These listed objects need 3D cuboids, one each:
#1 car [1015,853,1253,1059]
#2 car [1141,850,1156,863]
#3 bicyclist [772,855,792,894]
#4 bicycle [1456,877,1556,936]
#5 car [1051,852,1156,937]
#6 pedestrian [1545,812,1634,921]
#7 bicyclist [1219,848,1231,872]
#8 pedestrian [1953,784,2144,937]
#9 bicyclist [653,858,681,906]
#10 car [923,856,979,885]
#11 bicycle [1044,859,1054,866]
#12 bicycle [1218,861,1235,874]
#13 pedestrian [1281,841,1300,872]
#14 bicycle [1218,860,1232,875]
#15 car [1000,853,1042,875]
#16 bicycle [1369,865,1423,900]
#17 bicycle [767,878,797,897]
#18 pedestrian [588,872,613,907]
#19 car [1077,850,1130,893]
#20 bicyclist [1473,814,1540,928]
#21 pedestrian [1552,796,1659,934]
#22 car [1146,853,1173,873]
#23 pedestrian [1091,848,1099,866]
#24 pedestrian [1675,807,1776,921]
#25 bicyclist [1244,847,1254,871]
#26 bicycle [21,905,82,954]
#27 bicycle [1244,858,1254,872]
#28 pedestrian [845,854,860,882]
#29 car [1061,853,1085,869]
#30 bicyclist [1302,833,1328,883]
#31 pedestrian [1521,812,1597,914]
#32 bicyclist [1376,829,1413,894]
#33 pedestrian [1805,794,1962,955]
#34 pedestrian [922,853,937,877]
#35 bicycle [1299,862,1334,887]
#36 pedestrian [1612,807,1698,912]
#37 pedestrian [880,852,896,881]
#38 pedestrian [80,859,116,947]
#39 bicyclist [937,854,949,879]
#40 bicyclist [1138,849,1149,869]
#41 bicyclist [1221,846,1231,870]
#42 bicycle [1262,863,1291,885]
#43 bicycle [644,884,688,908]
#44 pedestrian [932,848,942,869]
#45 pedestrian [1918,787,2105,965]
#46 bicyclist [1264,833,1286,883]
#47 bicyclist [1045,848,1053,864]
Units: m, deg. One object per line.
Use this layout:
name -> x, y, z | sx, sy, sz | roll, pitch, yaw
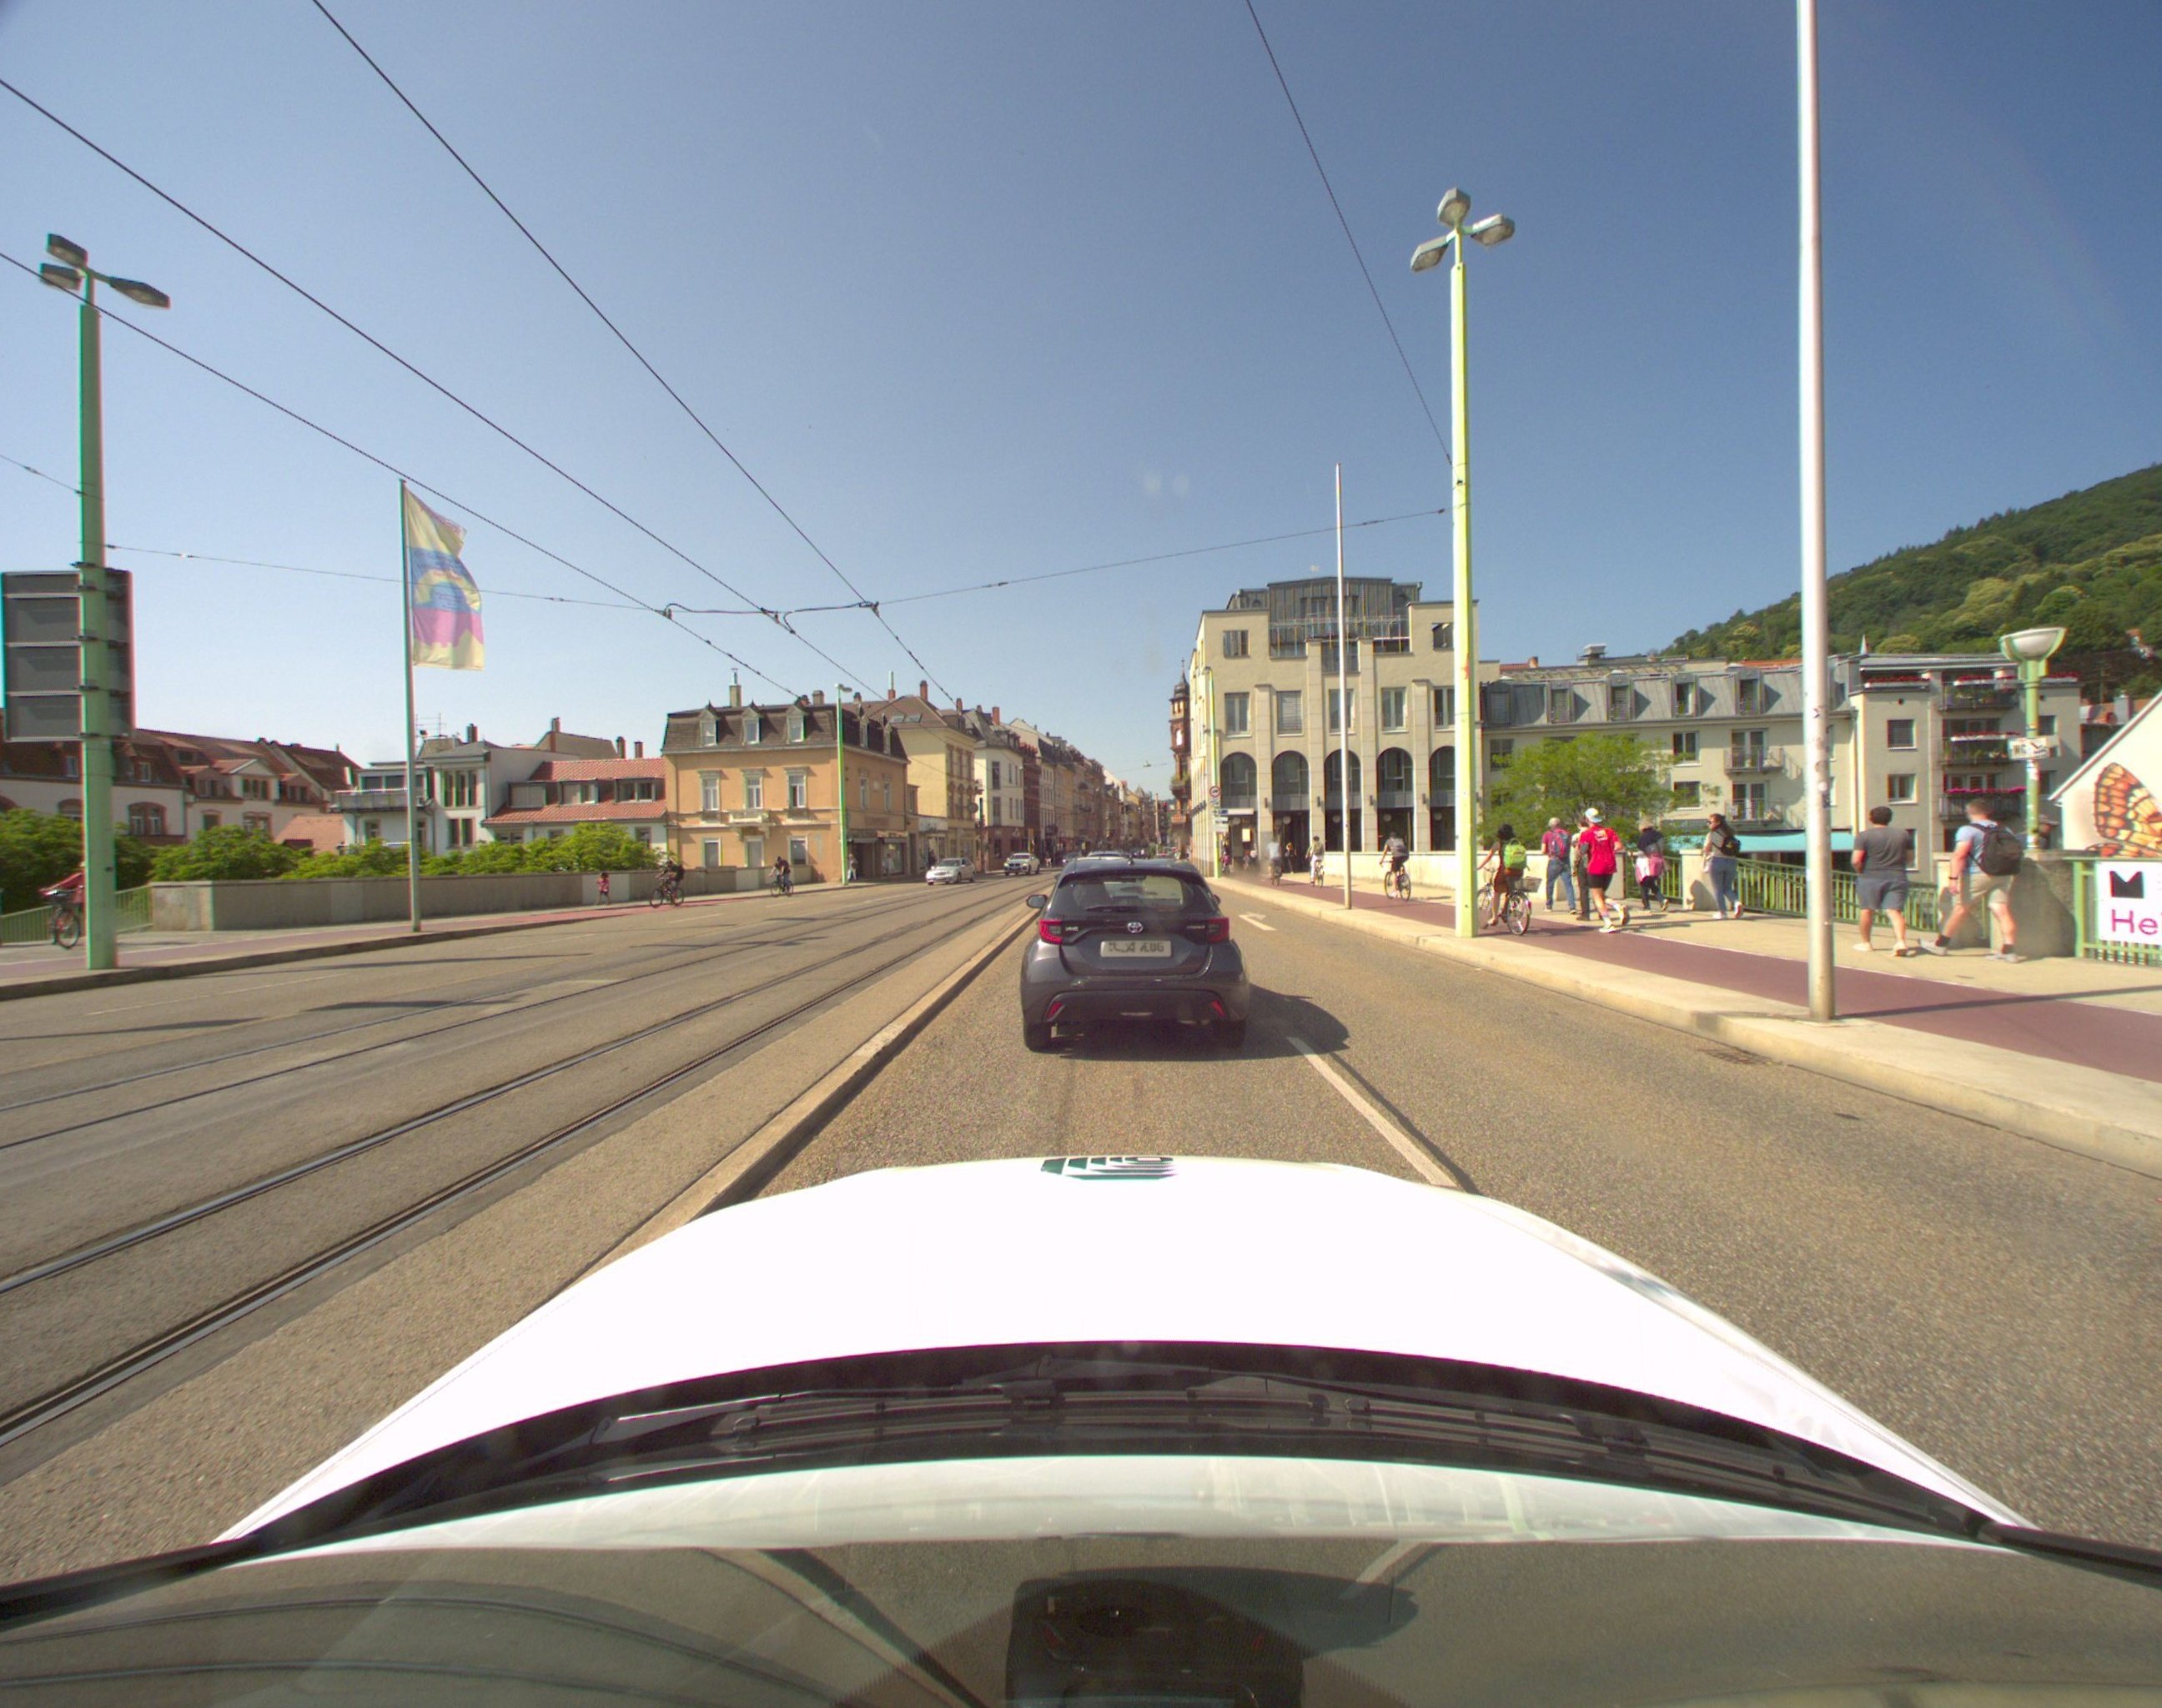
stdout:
car -> 0.429, 0.735, 7.706 | 1.713, 1.473, 3.659 | 0, 0, 1
car -> 12.045, 0.446, 144.405 | 1.980, 2.013, 4.013 | 3, 0, 12
bicyclist -> -12.824, 0.881, 34.966 | 0.625, 1.650, 0.622 | 0, 1, 2
bicycle -> 6.492, 0.771, 12.554 | 0.591, 0.765, 1.867 | -2, 0, 2
car -> 0.448, 0.722, 16.675 | 1.890, 1.530, 4.001 | 0, 0, 1
pedestrian -> 8.501, 0.205, 13.668 | 0.752, 1.718, 1.073 | -3, 0, 1
bicyclist -> 8.357, 0.332, 47.374 | 0.532, 1.383, 0.669 | -3, 0, 1
pedestrian -> 12.158, 0.074, 10.282 | 1.201, 1.777, 0.979 | -3, 0, -3
bicyclist -> -14.628, 0.974, 28.780 | 0.625, 1.650, 0.622 | 0, 1, 2
car -> -7.034, 0.844, 44.492 | 1.721, 1.460, 4.384 | -2, 0, 9
bicycle -> -3.350, 0.912, 85.571 | 0.616, 0.716, 2.051 | 0, 1, 11
bicycle -> 9.126, 0.841, 51.162 | 0.950, 0.765, 0.420 | -3, 0, 24
pedestrian -> 11.477, 0.147, 44.678 | 0.736, 1.615, 1.016 | 3, 0, 1
bicycle -> 8.379, 0.776, 47.388 | 0.512, 0.765, 1.661 | -3, 0, 2
car -> -4.459, 0.709, 61.326 | 1.981, 1.586, 4.665 | -2, 0, 10
bicycle -> 7.798, 0.692, 20.233 | 0.592, 0.765, 1.830 | -2, 0, -1
bicycle -> -12.835, 1.436, 35.013 | 0.618, 0.716, 1.732 | 0, 1, 2
pedestrian -> -16.628, 1.223, 28.190 | 0.409, 1.146, 0.546 | 3, 0, 12
car -> 0.839, 0.623, 30.786 | 1.890, 1.530, 4.001 | 0, 0, 1
bicyclist -> 6.461, 0.252, 12.389 | 0.602, 1.650, 0.702 | -2, 0, 2
pedestrian -> 7.785, 0.160, 12.138 | 0.808, 1.924, 1.128 | -2, 0, 1
car -> 5.842, 0.648, 60.861 | 1.699, 1.466, 4.327 | 0, 0, 1
pedestrian -> 2.127, 0.503, 120.896 | 1.047, 2.588, 1.502 | 3, 0, 2
pedestrian -> 10.436, 0.152, 13.226 | 0.737, 1.746, 1.015 | -3, 0, -2
bicyclist -> 9.771, 0.300, 47.431 | 0.420, 1.383, 0.444 | -3, 0, 1
bicycle -> -19.094, 1.376, 15.131 | 1.909, 0.716, 0.626 | 1, 1, 41
bicycle -> 9.792, 0.618, 47.438 | 0.415, 0.765, 0.962 | -3, 0, 2
pedestrian -> -13.386, 0.833, 47.718 | 0.646, 1.602, 0.566 | 3, 2, 2
car -> -0.790, 0.683, 82.451 | 1.784, 1.545, 3.930 | -2, 0, 8
bicyclist -> 7.924, 0.131, 27.583 | 0.585, 1.650, 0.702 | -2, 0, -1
pedestrian -> 8.842, 0.160, 15.106 | 0.736, 1.802, 1.016 | -3, 0, 1
bicyclist -> 7.780, 0.184, 20.220 | 0.585, 1.559, 0.702 | -2, 0, -1
pedestrian -> 9.197, 0.218, 9.380 | 0.736, 1.718, 1.016 | -3, 0, 1
pedestrian -> -10.831, 0.802, 58.379 | 0.757, 1.654, 0.713 | 3, 0, 10
bicycle -> 7.958, 0.689, 27.537 | 0.592, 0.765, 1.866 | -2, 0, -1
pedestrian -> 10.201, 0.090, 14.503 | 0.736, 1.777, 1.016 | -3, 0, 1
pedestrian -> -12.263, 0.789, 51.727 | 0.733, 1.766, 0.787 | 3, 0, 2
pedestrian -> -18.679, 0.914, 15.485 | 0.620, 1.632, 0.416 | 1, 0, 40
bicyclist -> -9.369, 0.832, 55.471 | 0.623, 1.650, 0.623 | 0, 1, 10
bicyclist -> 8.036, 0.669, 104.183 | 1.222, 2.529, 1.106 | 3, 0, 5
bicyclist -> 9.092, 0.232, 51.171 | 0.438, 1.466, 0.488 | -3, 0, 24
bicycle -> 7.292, 0.738, 30.424 | 0.592, 0.765, 1.866 | -2, 0, -1
bicycle -> -14.630, 1.471, 28.744 | 0.618, 0.716, 1.772 | 0, 1, 2
pedestrian -> -11.536, 0.384, 65.124 | 0.646, 1.602, 0.566 | 3, 2, 2
pedestrian -> 9.600, 0.211, 8.453 | 0.736, 1.718, 1.016 | -2, 0, 1
bicyclist -> 7.270, 0.156, 30.476 | 0.585, 1.820, 0.702 | -2, 0, -1
bicyclist -> -3.317, 0.229, 85.662 | 0.701, 1.650, 0.623 | 0, 1, 10
